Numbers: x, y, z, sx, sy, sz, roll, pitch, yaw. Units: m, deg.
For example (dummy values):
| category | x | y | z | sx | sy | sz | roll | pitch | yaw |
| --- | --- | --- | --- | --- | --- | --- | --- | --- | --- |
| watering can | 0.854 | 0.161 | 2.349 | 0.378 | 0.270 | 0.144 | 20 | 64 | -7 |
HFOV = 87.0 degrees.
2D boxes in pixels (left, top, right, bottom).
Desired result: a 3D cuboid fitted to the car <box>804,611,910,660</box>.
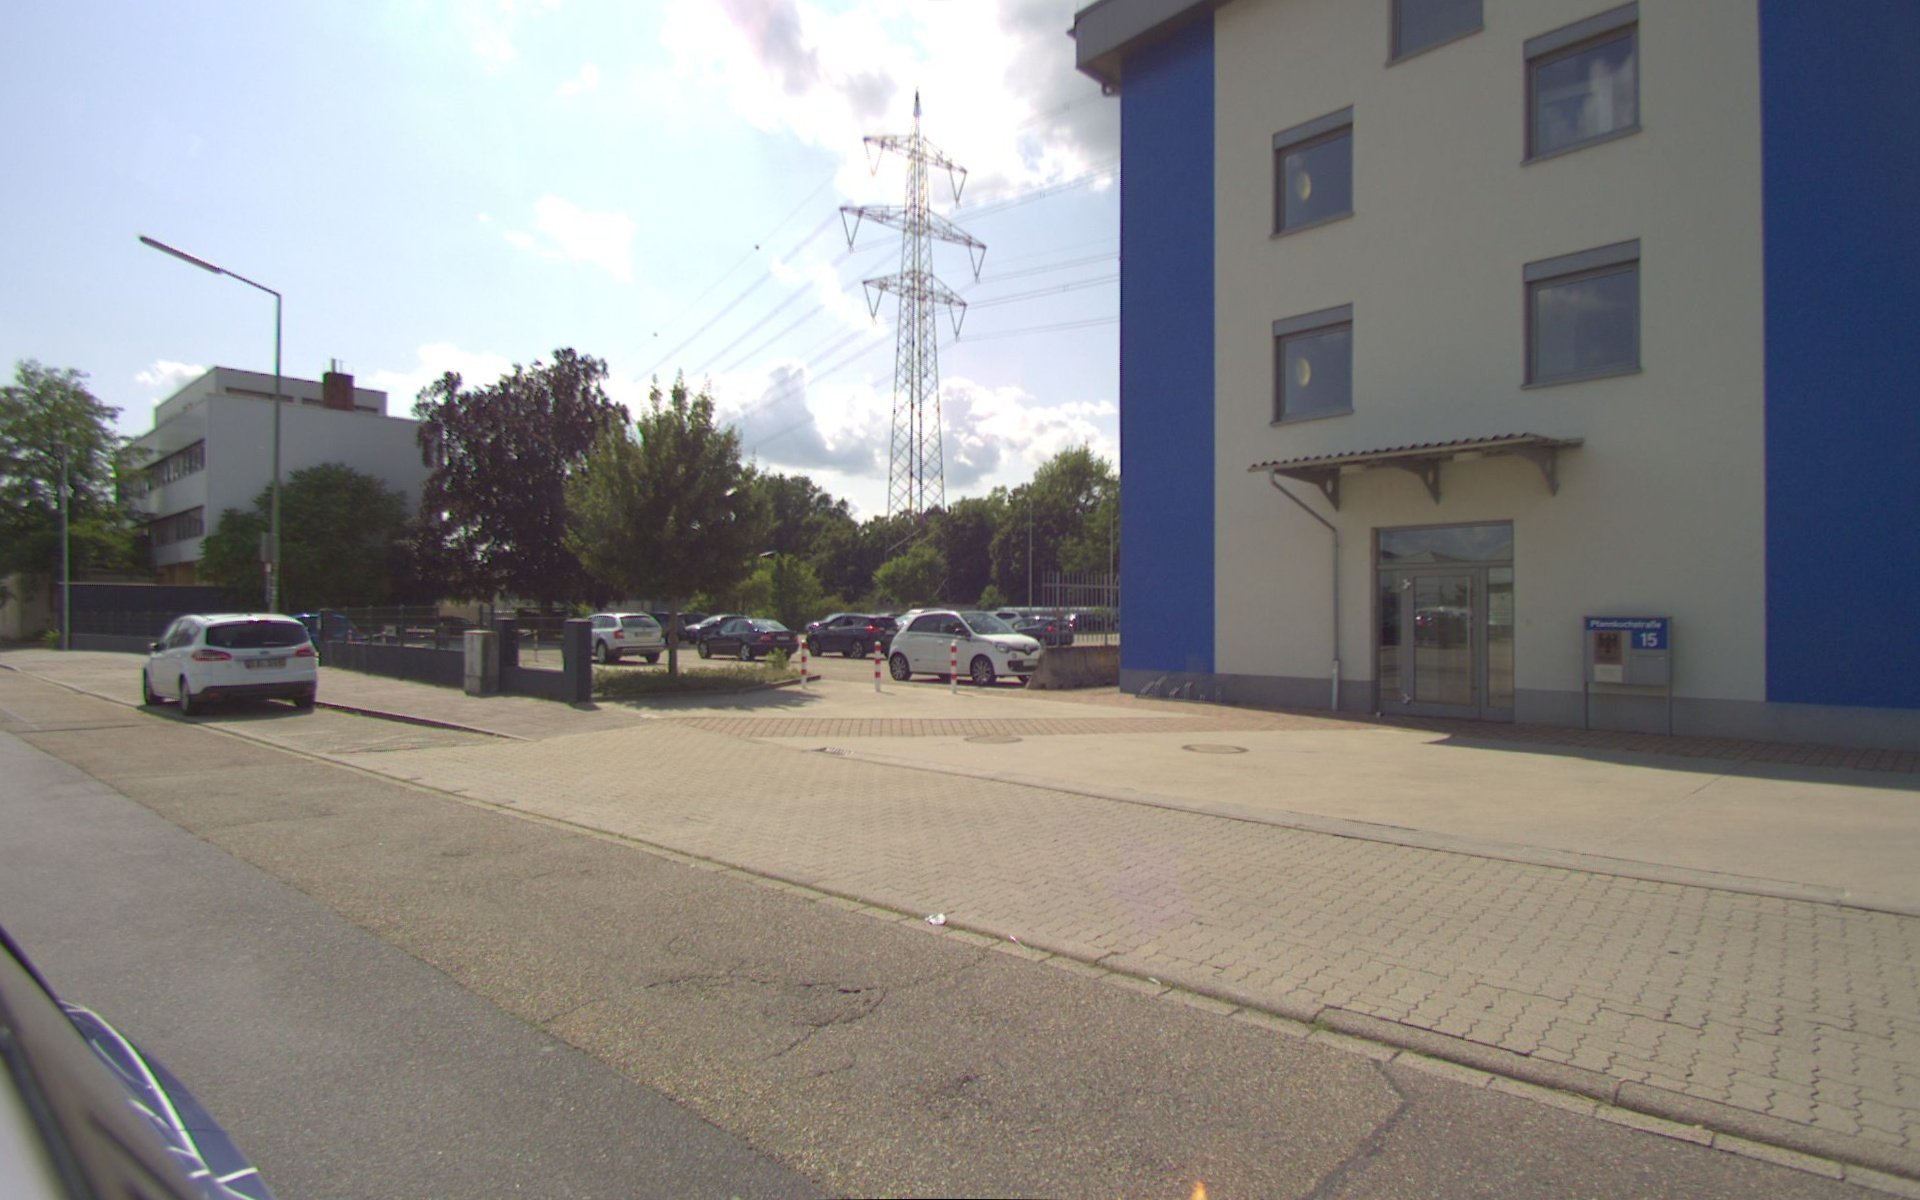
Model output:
| category | x | y | z | sx | sy | sz | roll | pitch | yaw |
| --- | --- | --- | --- | --- | --- | --- | --- | --- | --- |
| car | -3.933 | 1.304 | 38.231 | 1.851 | 1.721 | 4.070 | 1 | -1 | -44 |

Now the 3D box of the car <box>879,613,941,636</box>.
| category | x | y | z | sx | sy | sz | roll | pitch | yaw |
| --- | --- | --- | --- | --- | --- | --- | --- | --- | --- |
| car | -2.848 | 1.413 | 57.940 | 3.273 | 1.239 | 1.682 | 2 | -2 | -44 |

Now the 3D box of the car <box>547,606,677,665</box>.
| category | x | y | z | sx | sy | sz | roll | pitch | yaw |
| --- | --- | --- | --- | --- | --- | --- | --- | --- | --- |
| car | -10.715 | 1.032 | 30.942 | 4.847 | 1.649 | 1.803 | 0 | -2 | 45 |

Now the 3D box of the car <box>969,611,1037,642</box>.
| category | x | y | z | sx | sy | sz | roll | pitch | yaw |
| --- | --- | --- | --- | --- | --- | --- | --- | --- | --- |
| car | 2.577 | 1.576 | 60.856 | 3.720 | 1.798 | 1.992 | 1 | -2 | -39 |

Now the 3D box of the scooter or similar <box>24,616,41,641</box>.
| category | x | y | z | sx | sy | sz | roll | pitch | yaw |
| --- | --- | --- | --- | --- | --- | --- | --- | --- | --- |
| scooter or similar | -49.517 | 1.535 | 54.039 | 1.360 | 1.288 | 0.477 | 0 | 1 | 41 |

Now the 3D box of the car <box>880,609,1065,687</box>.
| category | x | y | z | sx | sy | sz | roll | pitch | yaw |
| --- | --- | --- | --- | --- | --- | --- | --- | --- | --- |
| car | 0.211 | 0.954 | 21.725 | 3.759 | 1.518 | 1.851 | 0 | -1 | 44 |

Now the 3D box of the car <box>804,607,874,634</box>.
| category | x | y | z | sx | sy | sz | roll | pitch | yaw |
| --- | --- | --- | --- | --- | --- | --- | --- | --- | --- |
| car | -7.638 | 1.304 | 64.065 | 4.149 | 1.675 | 1.839 | 2 | -2 | -43 |

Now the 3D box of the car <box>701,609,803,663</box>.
| category | x | y | z | sx | sy | sz | roll | pitch | yaw |
| --- | --- | --- | --- | --- | --- | --- | --- | --- | --- |
| car | -7.101 | 1.173 | 34.341 | 1.850 | 1.721 | 3.483 | 1 | -1 | -43 |

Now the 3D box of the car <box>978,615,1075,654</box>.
| category | x | y | z | sx | sy | sz | roll | pitch | yaw |
| --- | --- | --- | --- | --- | --- | --- | --- | --- | --- |
| car | 2.876 | 1.495 | 44.263 | 3.988 | 1.630 | 1.634 | -1 | -2 | 33 |

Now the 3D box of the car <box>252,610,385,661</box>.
| category | x | y | z | sx | sy | sz | roll | pitch | yaw |
| --- | --- | --- | --- | --- | --- | --- | --- | --- | --- |
| car | -22.796 | 1.236 | 36.056 | 1.877 | 1.721 | 3.610 | 0 | -1 | 40 |

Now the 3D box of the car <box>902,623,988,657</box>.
| category | x | y | z | sx | sy | sz | roll | pitch | yaw |
| --- | --- | --- | --- | --- | --- | --- | --- | --- | --- |
| car | -0.651 | 1.592 | 41.026 | 1.517 | 1.332 | 3.768 | 1 | -2 | -38 |

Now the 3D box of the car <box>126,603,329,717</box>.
| category | x | y | z | sx | sy | sz | roll | pitch | yaw |
| --- | --- | --- | --- | --- | --- | --- | --- | --- | --- |
| car | -12.932 | 0.932 | 17.740 | 4.750 | 1.721 | 1.848 | 0 | 0 | 41 |

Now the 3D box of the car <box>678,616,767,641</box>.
| category | x | y | z | sx | sy | sz | roll | pitch | yaw |
| --- | --- | --- | --- | --- | --- | --- | --- | --- | --- |
| car | -12.208 | 1.456 | 52.193 | 4.150 | 1.236 | 1.831 | 2 | -2 | -44 |
